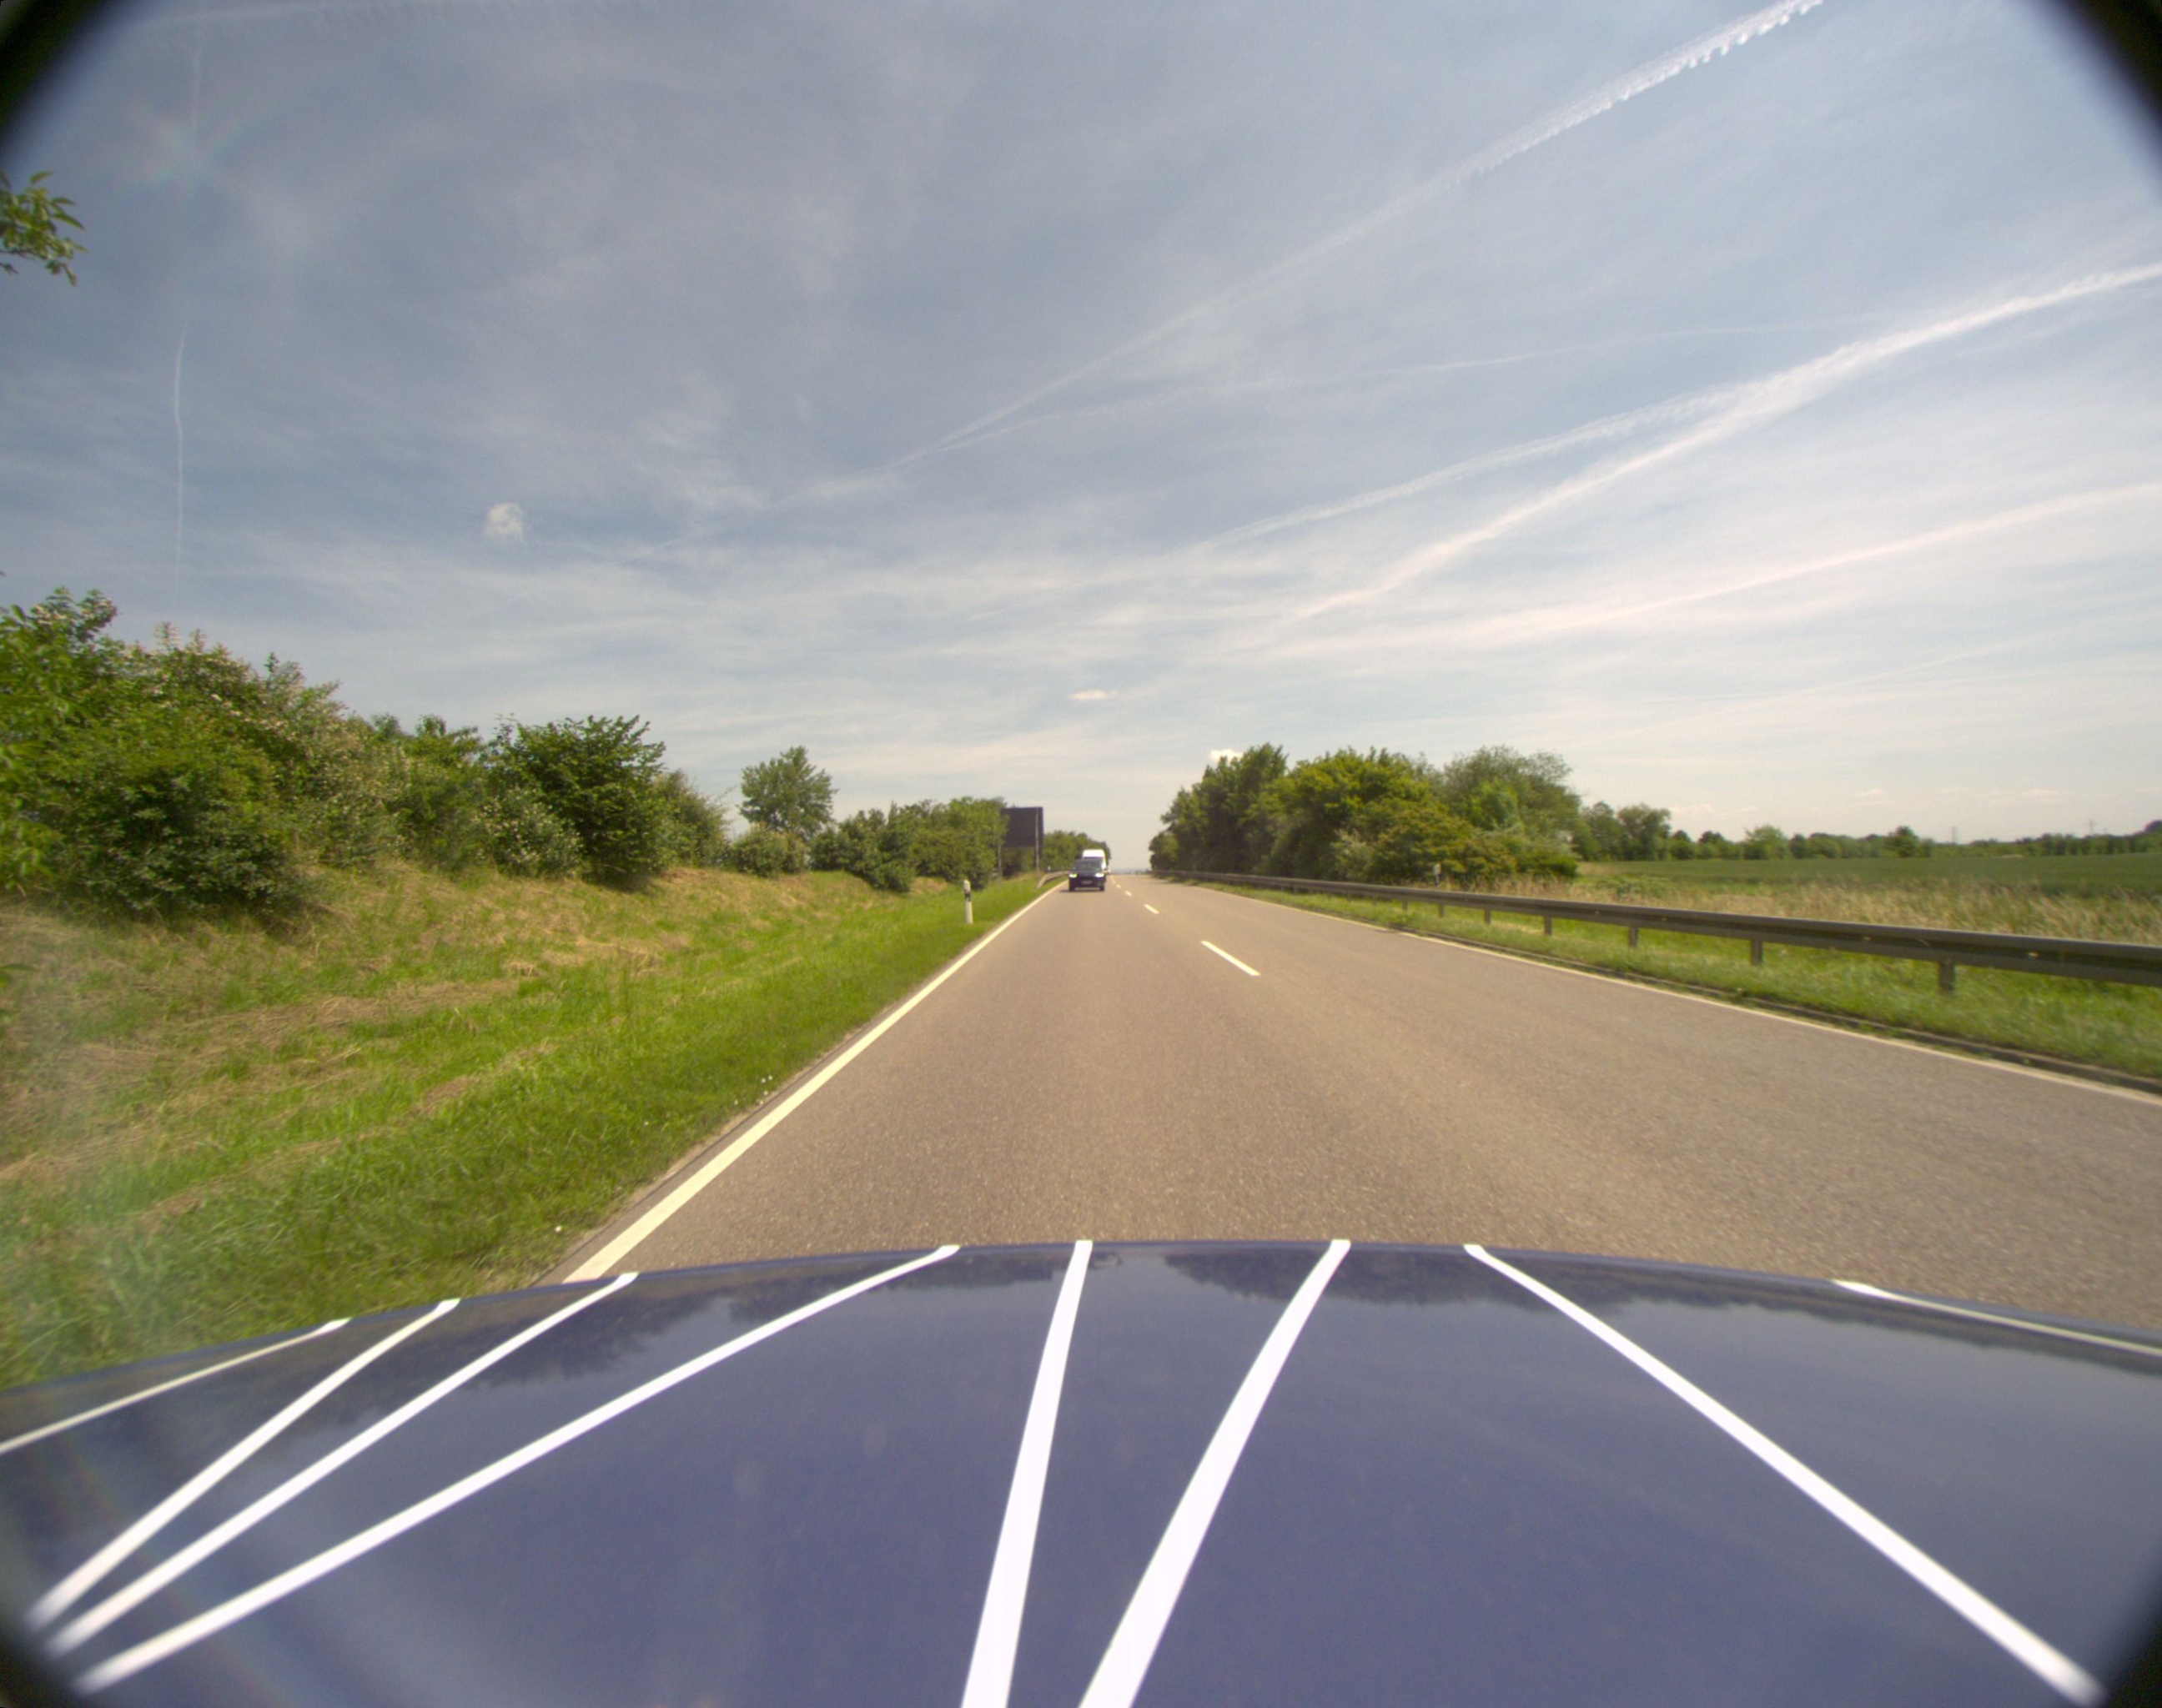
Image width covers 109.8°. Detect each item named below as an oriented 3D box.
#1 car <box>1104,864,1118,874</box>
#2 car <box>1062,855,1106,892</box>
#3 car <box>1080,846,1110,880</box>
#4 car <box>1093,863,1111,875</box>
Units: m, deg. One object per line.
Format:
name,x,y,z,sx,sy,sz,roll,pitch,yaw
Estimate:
car,4.948,2.525,125.384,2.038,1.641,4.747,-1,-1,5
car,0.242,0.996,41.080,2.038,1.691,5.513,-2,0,3
car,1.190,0.697,61.888,2.225,2.617,5.753,-2,1,2
car,2.910,2.062,103.638,2.038,1.641,4.747,-1,-1,5
